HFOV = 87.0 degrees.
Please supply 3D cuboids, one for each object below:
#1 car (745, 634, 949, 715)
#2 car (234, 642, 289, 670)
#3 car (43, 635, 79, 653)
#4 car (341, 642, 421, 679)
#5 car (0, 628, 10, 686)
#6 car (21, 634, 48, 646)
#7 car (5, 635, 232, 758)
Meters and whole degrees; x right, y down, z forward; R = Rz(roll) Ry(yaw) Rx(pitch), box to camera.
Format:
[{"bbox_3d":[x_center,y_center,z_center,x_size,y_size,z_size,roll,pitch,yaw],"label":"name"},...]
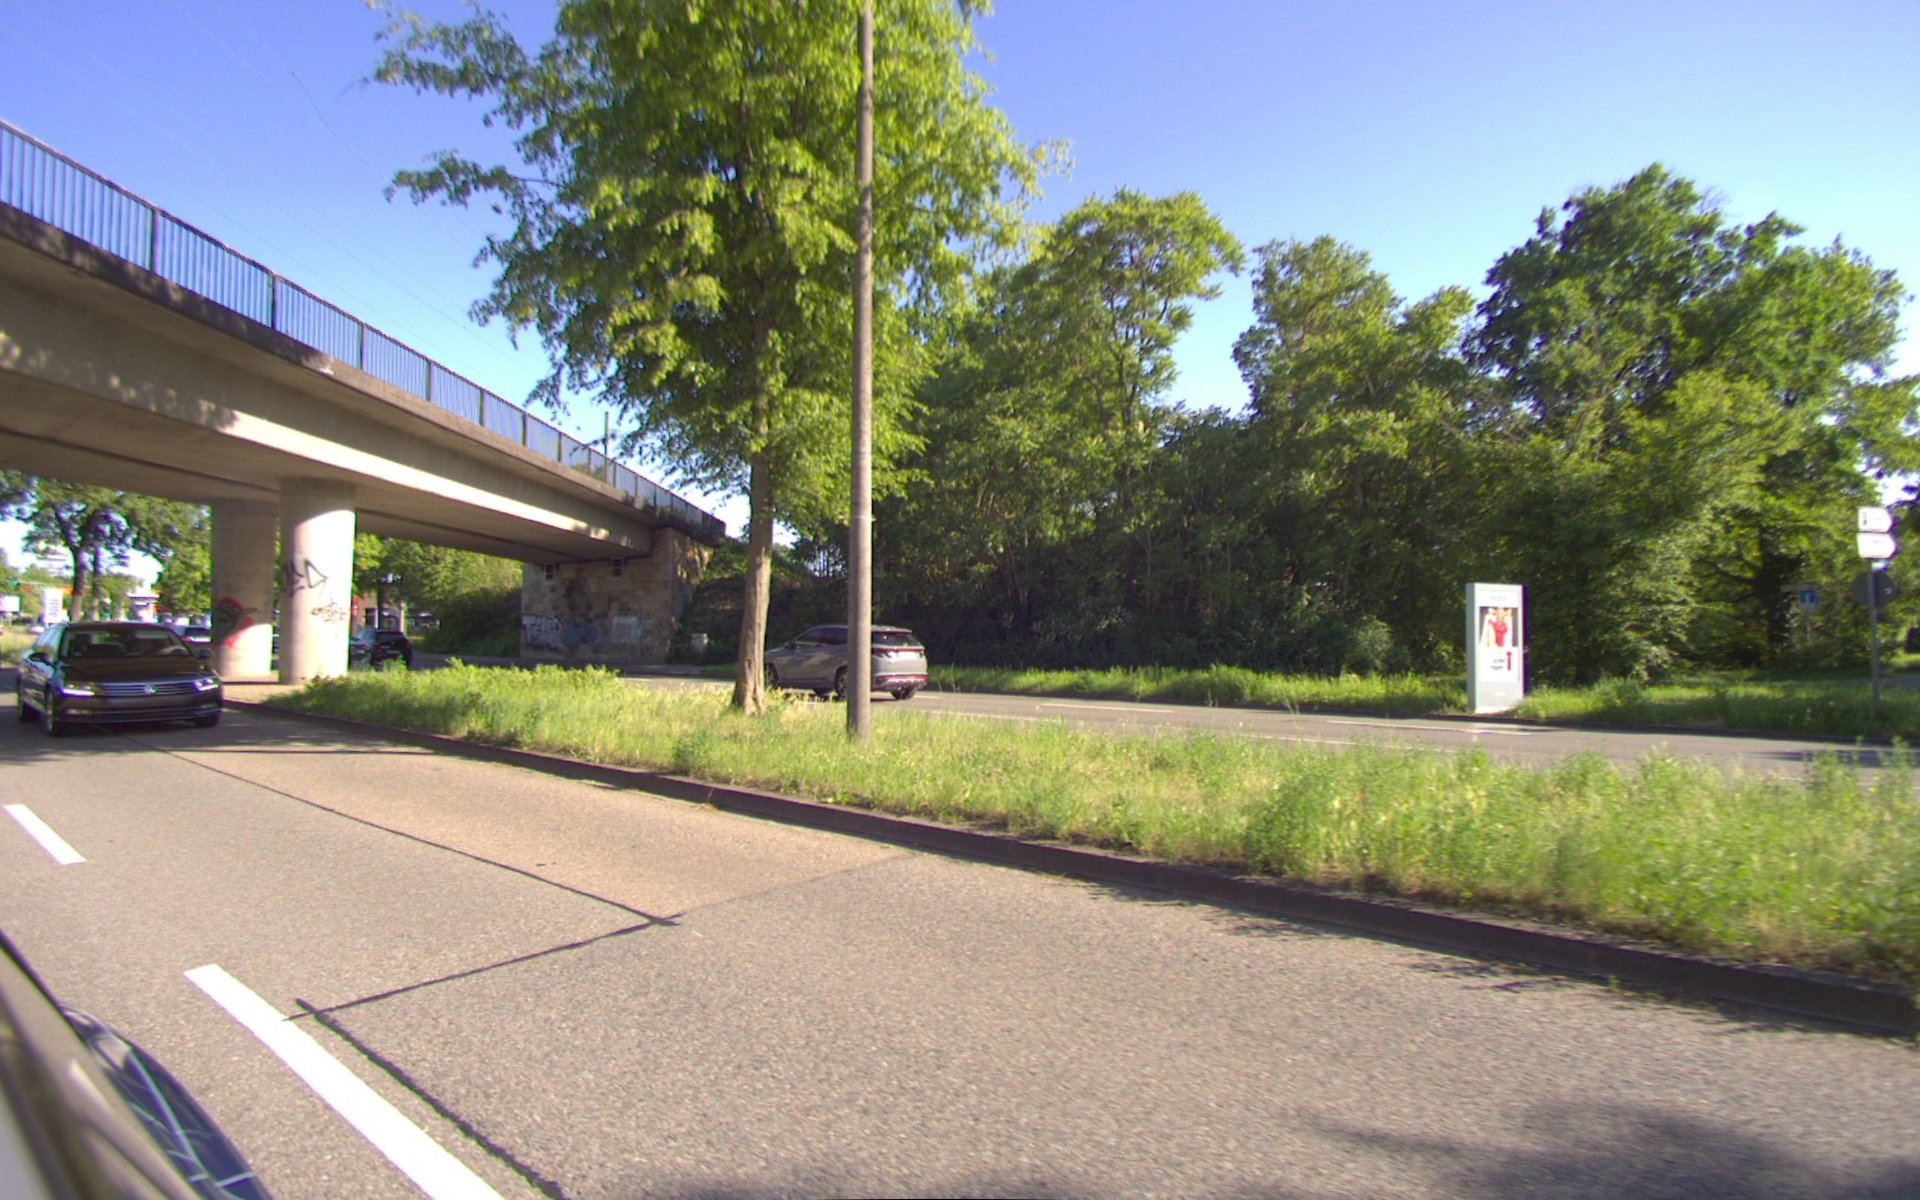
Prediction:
[{"bbox_3d":[-2.593,1.568,22.513,4.591,1.564,1.961,-1,-2,42],"label":"car"},{"bbox_3d":[-42.393,3.383,61.386,4.177,1.629,1.711,-1,-4,41],"label":"car"},{"bbox_3d":[-78.931,3.857,88.871,4.087,1.453,1.797,-1,-4,41],"label":"car"},{"bbox_3d":[-24.664,2.567,43.093,3.637,1.472,1.823,-1,-4,41],"label":"car"},{"bbox_3d":[-30.447,1.713,30.670,4.693,1.697,1.973,-1,-2,41],"label":"car"},{"bbox_3d":[-115.904,4.995,126.696,4.487,1.466,1.894,-1,-5,41],"label":"car"},{"bbox_3d":[-11.929,1.227,14.257,4.264,1.464,1.824,-2,-2,42],"label":"car"}]
